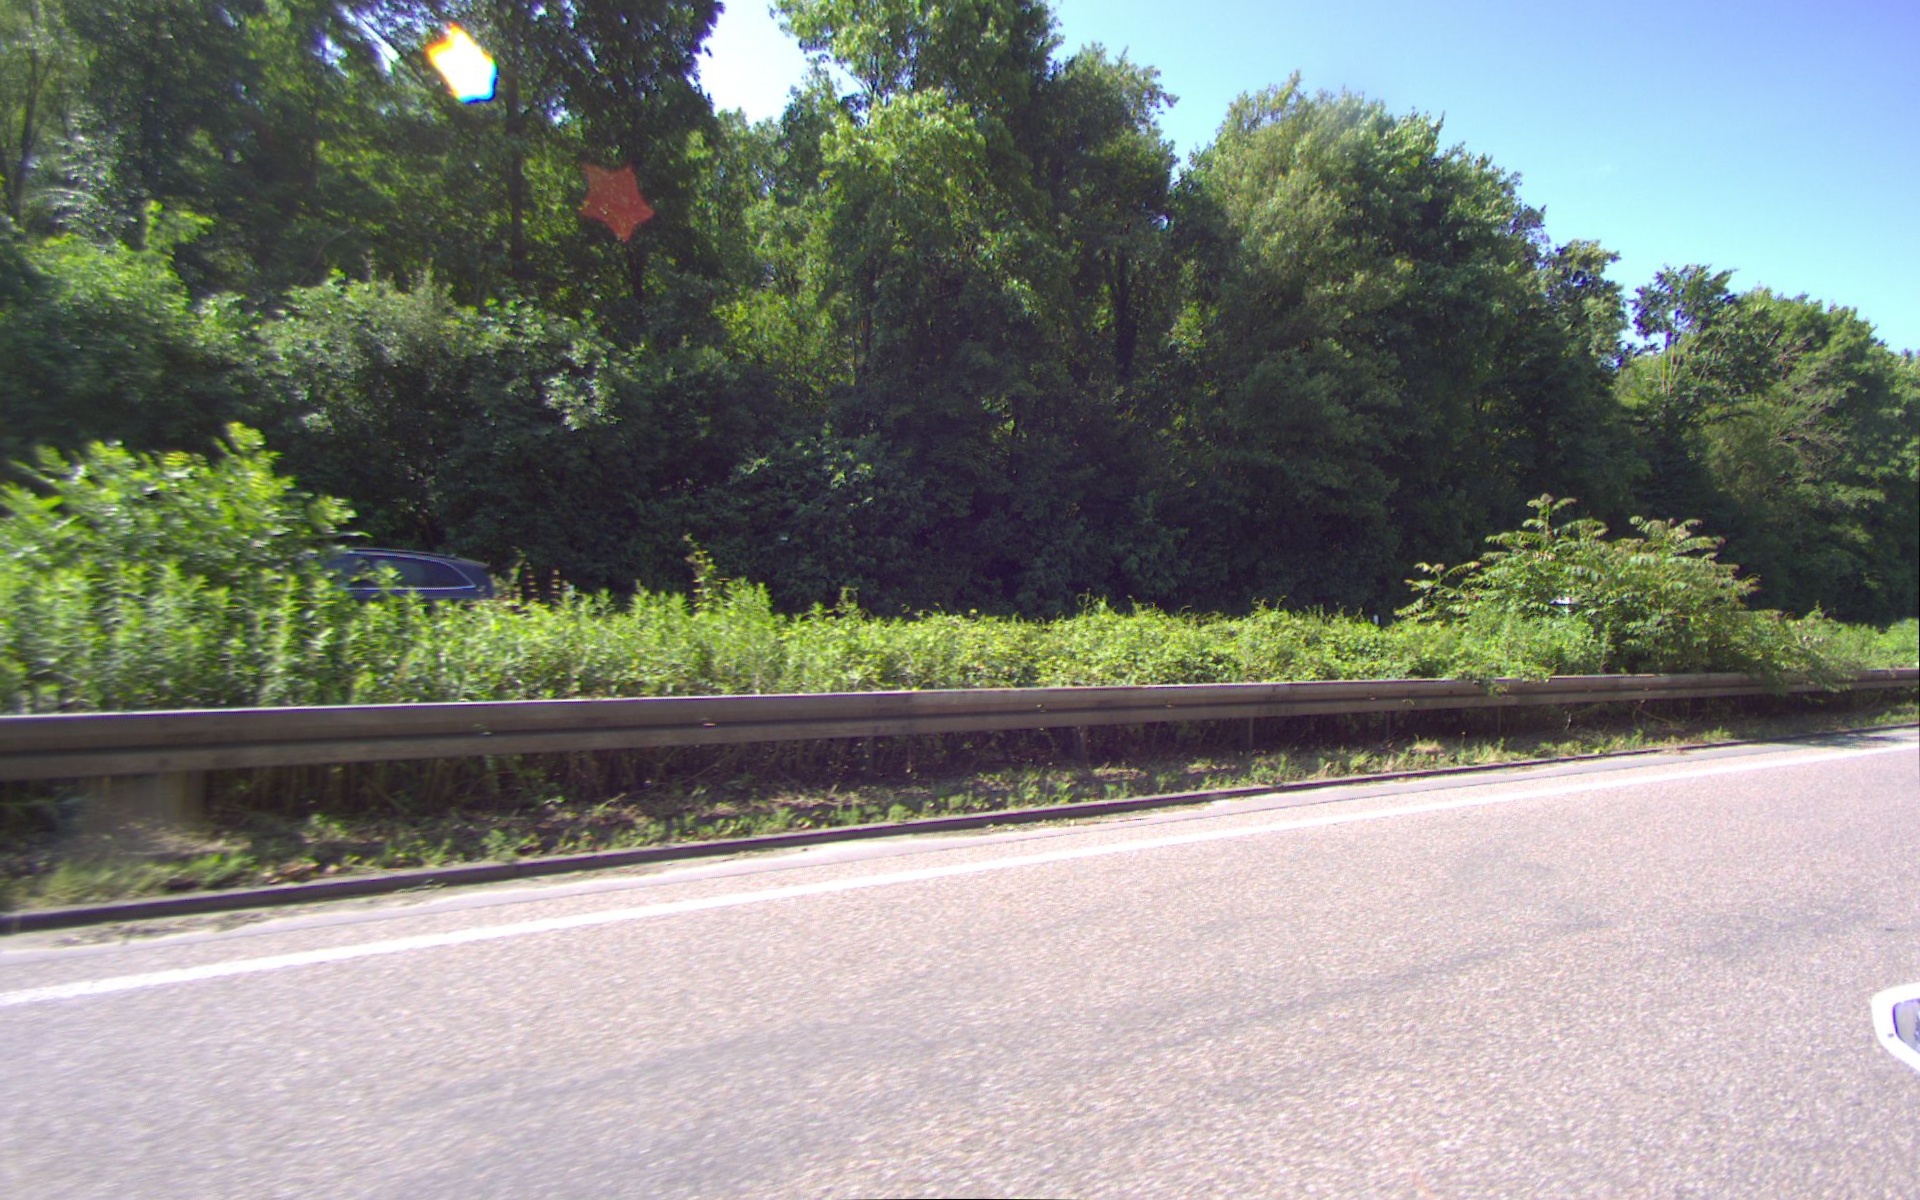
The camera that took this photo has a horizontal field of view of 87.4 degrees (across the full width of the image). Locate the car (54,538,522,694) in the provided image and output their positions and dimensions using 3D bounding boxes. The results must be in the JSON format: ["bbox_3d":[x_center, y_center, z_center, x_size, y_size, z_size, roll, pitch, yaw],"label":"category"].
[{"bbox_3d":[-8.221,0.218,12.803,4.660,1.684,1.684,1,-1,-31],"label":"car"}]
